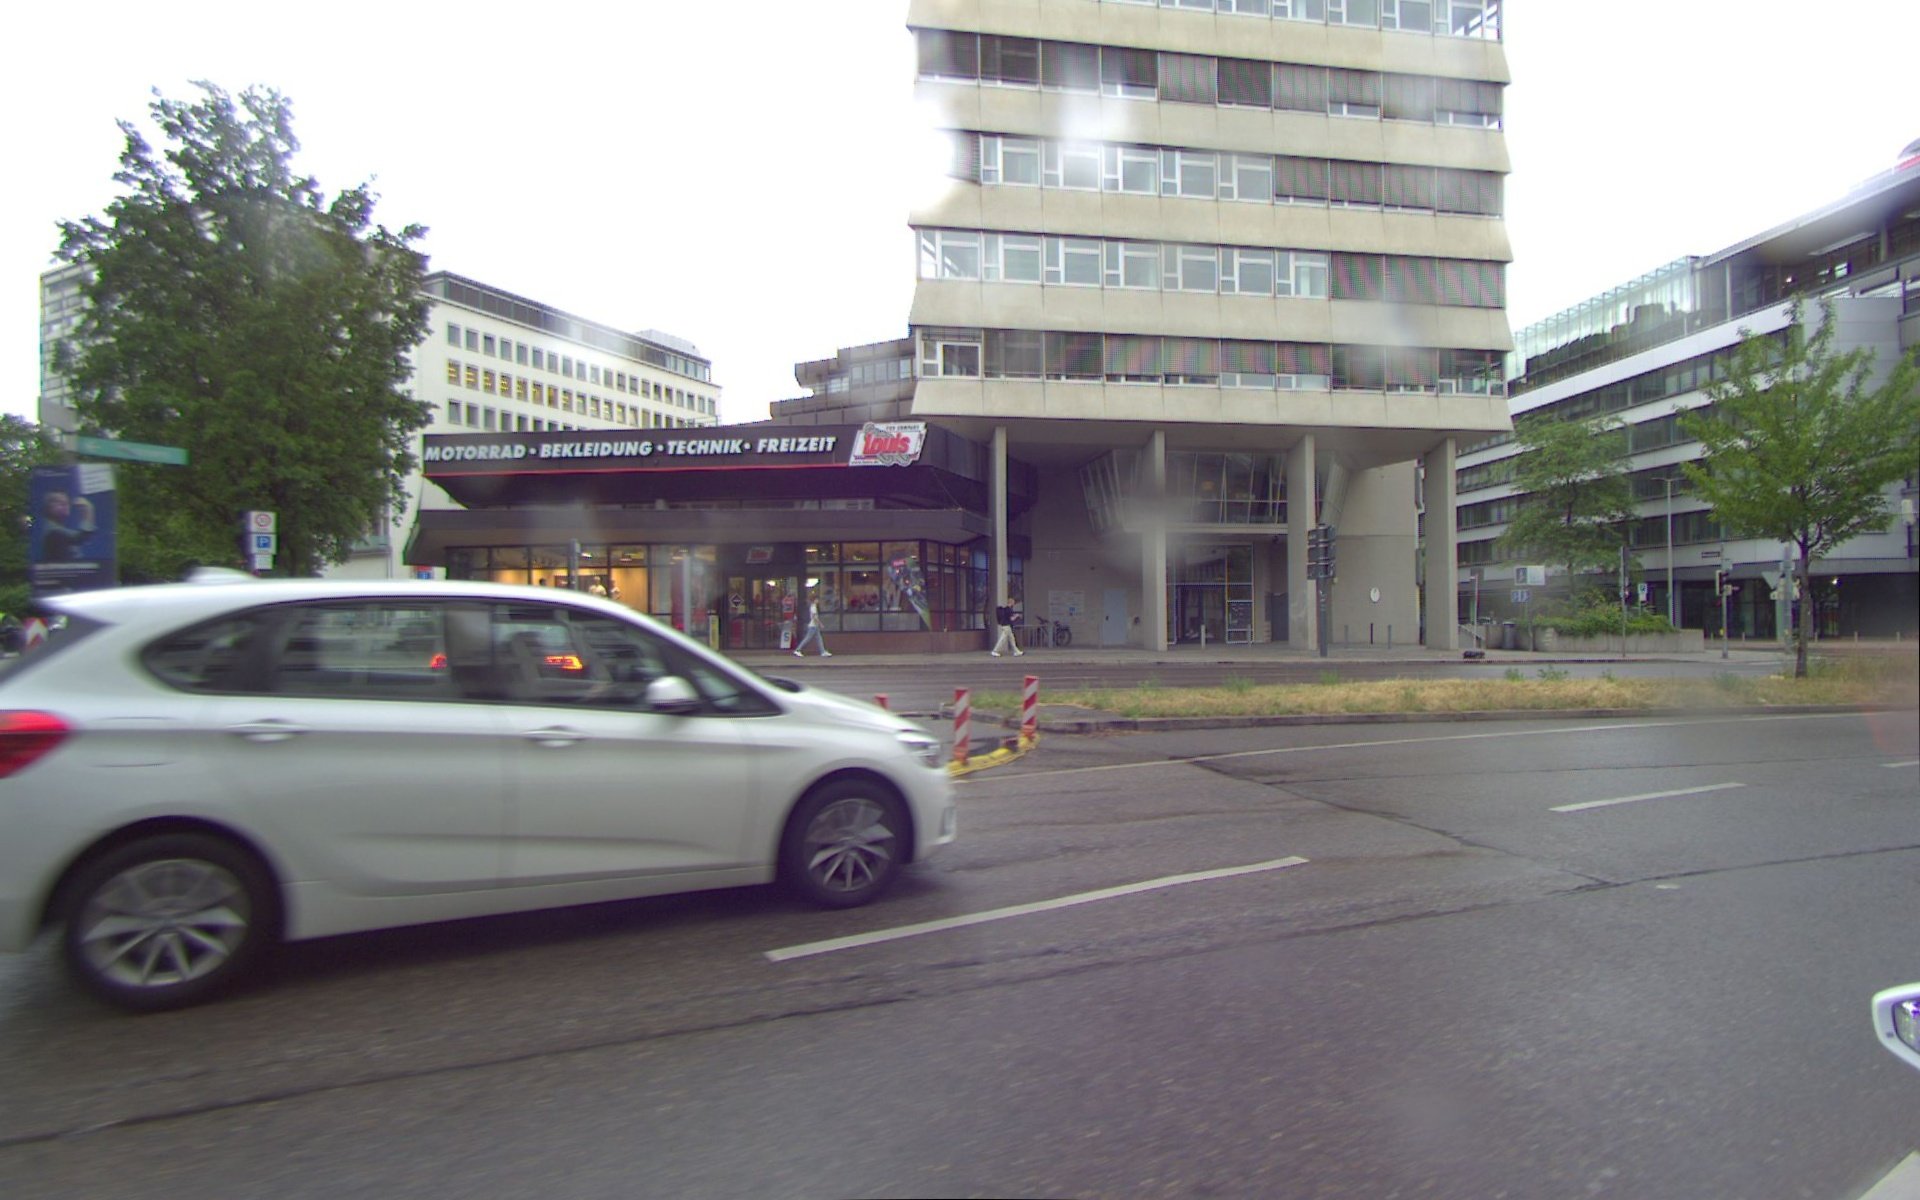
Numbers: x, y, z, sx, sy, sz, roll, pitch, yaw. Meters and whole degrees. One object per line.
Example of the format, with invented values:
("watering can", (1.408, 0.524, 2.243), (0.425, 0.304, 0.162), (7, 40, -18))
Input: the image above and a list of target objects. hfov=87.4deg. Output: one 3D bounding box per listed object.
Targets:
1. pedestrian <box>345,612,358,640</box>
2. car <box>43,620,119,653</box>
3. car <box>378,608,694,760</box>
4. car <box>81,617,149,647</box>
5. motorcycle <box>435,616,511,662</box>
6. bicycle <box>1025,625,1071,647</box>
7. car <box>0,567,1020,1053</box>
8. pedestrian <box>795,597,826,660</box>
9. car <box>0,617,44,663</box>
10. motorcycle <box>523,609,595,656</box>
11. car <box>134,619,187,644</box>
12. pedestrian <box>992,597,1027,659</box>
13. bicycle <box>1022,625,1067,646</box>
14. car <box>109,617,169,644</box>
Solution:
("pedestrian", (-41.646, 1.773, 68.706), (0.721, 1.948, 0.917), (1, 0, -30))
("car", (-39.038, 1.587, 44.709), (1.826, 1.305, 3.967), (1, 0, -31))
("car", (-4.770, 0.883, 12.186), (1.808, 1.470, 4.689), (1, -1, 0))
("car", (-41.705, 1.567, 49.672), (1.825, 1.305, 3.968), (1, 0, -30))
("motorcycle", (-15.437, 1.204, 31.936), (0.709, 1.351, 2.822), (1, 0, 7))
("bicycle", (3.455, 1.411, 39.583), (1.741, 0.823, 0.454), (1, 0, -9))
("car", (-1.968, 0.721, 4.923), (4.233, 1.594, 1.777), (1, -1, -28))
("pedestrian", (-4.533, 0.856, 30.368), (0.908, 1.857, 0.818), (0, -1, -10))
("car", (-31.110, 1.240, 32.111), (1.825, 1.305, 3.968), (1, 0, -30))
("motorcycle", (-12.519, 0.993, 31.477), (0.788, 1.392, 2.894), (1, 0, 6))
("car", (-47.362, 1.858, 59.569), (1.825, 1.305, 3.968), (1, 0, -30))
("pedestrian", (1.513, 0.855, 30.919), (0.908, 1.857, 0.728), (1, -1, -11))
("bicycle", (3.376, 1.414, 40.169), (1.741, 0.823, 0.454), (1, 0, -9))
("car", (-44.748, 1.646, 54.831), (1.825, 1.305, 3.968), (1, 0, -30))
